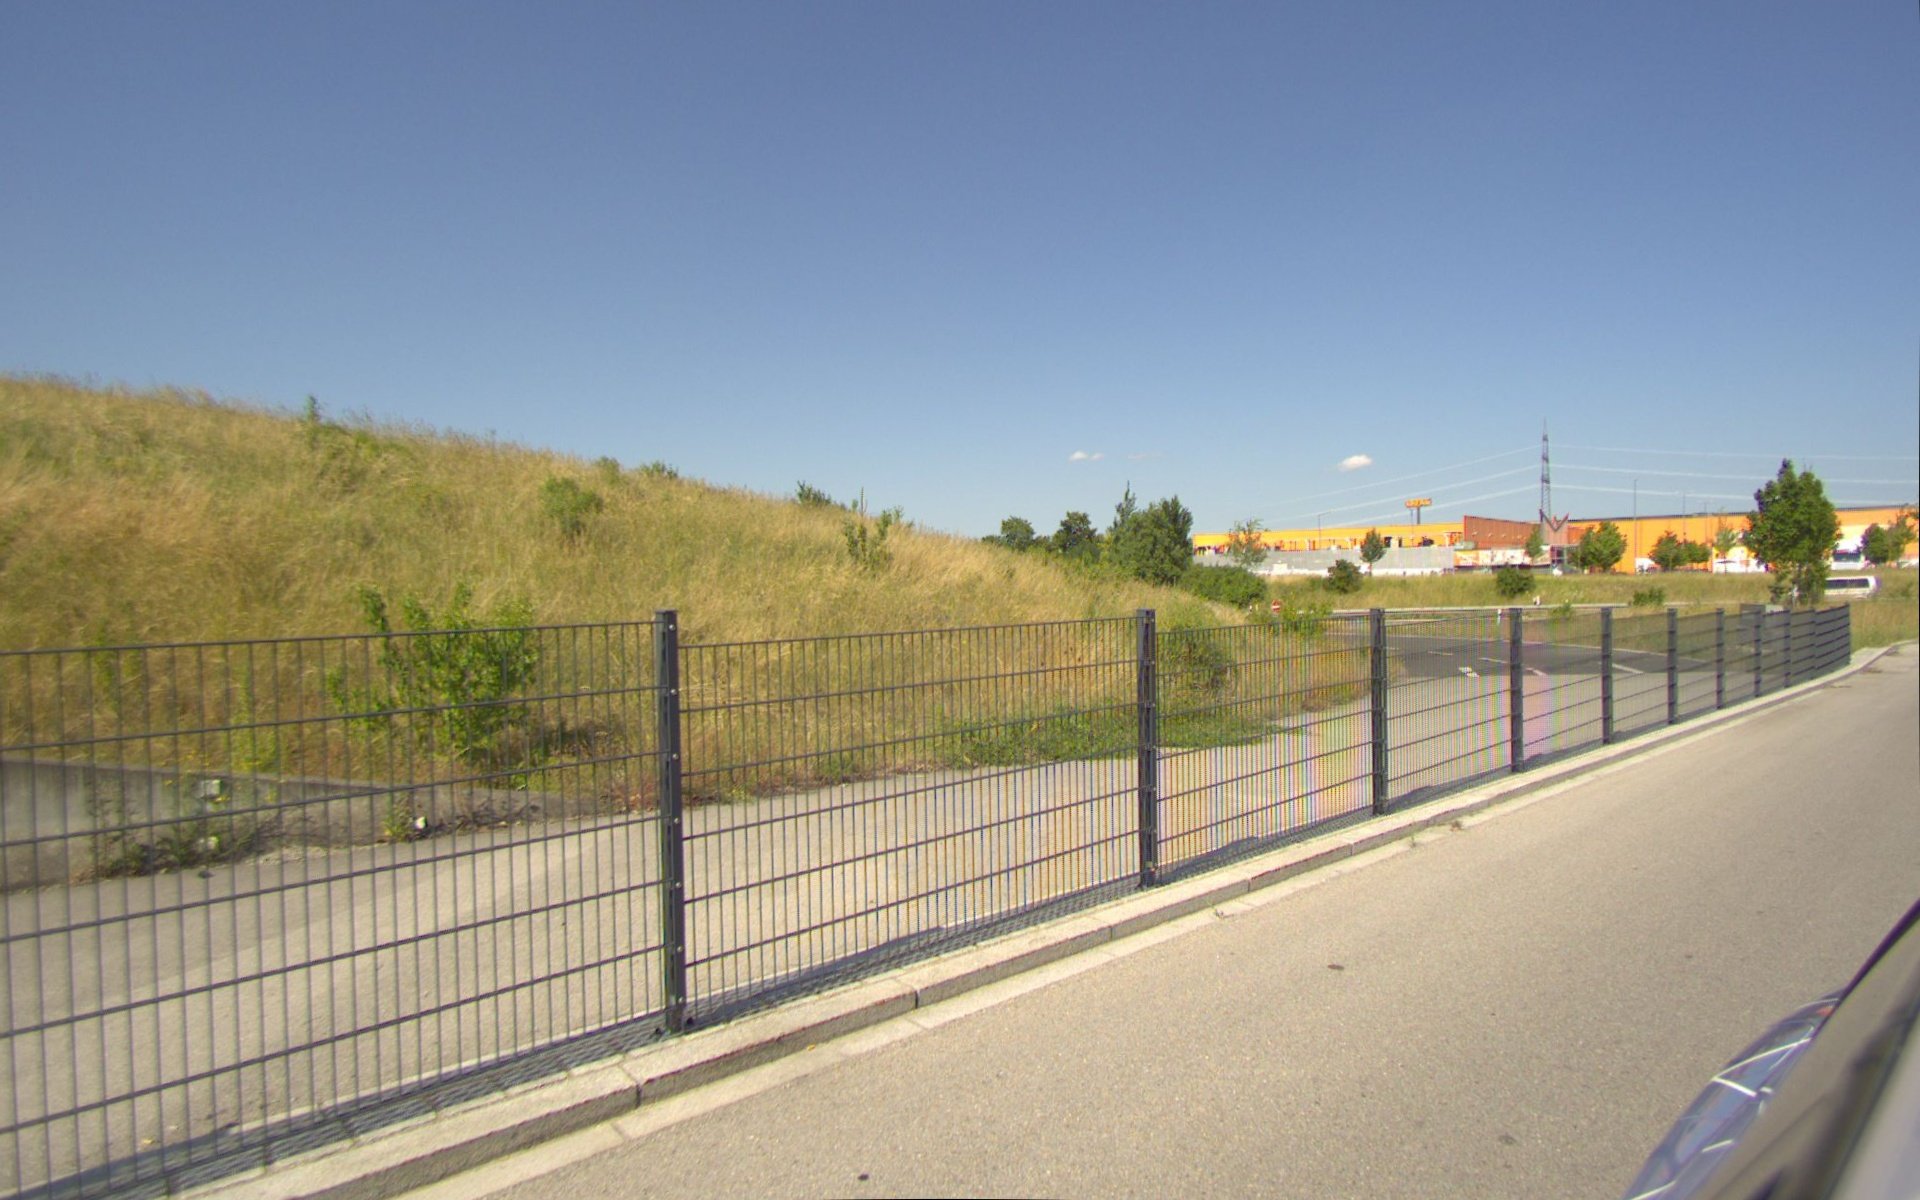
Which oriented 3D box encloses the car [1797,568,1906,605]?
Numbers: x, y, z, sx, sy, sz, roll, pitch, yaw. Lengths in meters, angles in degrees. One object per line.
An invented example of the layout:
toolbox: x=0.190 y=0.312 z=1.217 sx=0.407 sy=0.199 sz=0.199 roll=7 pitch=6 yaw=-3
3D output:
car: x=51.118 y=-0.759 z=58.098 sx=4.620 sy=2.039 sz=1.969 roll=-1 pitch=0 yaw=44

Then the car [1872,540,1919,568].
car: x=74.648 y=-3.618 z=79.326 sx=4.619 sy=2.039 sz=1.969 roll=-1 pitch=0 yaw=43

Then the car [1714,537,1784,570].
car: x=67.534 y=-3.952 z=86.670 sx=4.619 sy=2.581 sz=1.969 roll=-1 pitch=0 yaw=43
